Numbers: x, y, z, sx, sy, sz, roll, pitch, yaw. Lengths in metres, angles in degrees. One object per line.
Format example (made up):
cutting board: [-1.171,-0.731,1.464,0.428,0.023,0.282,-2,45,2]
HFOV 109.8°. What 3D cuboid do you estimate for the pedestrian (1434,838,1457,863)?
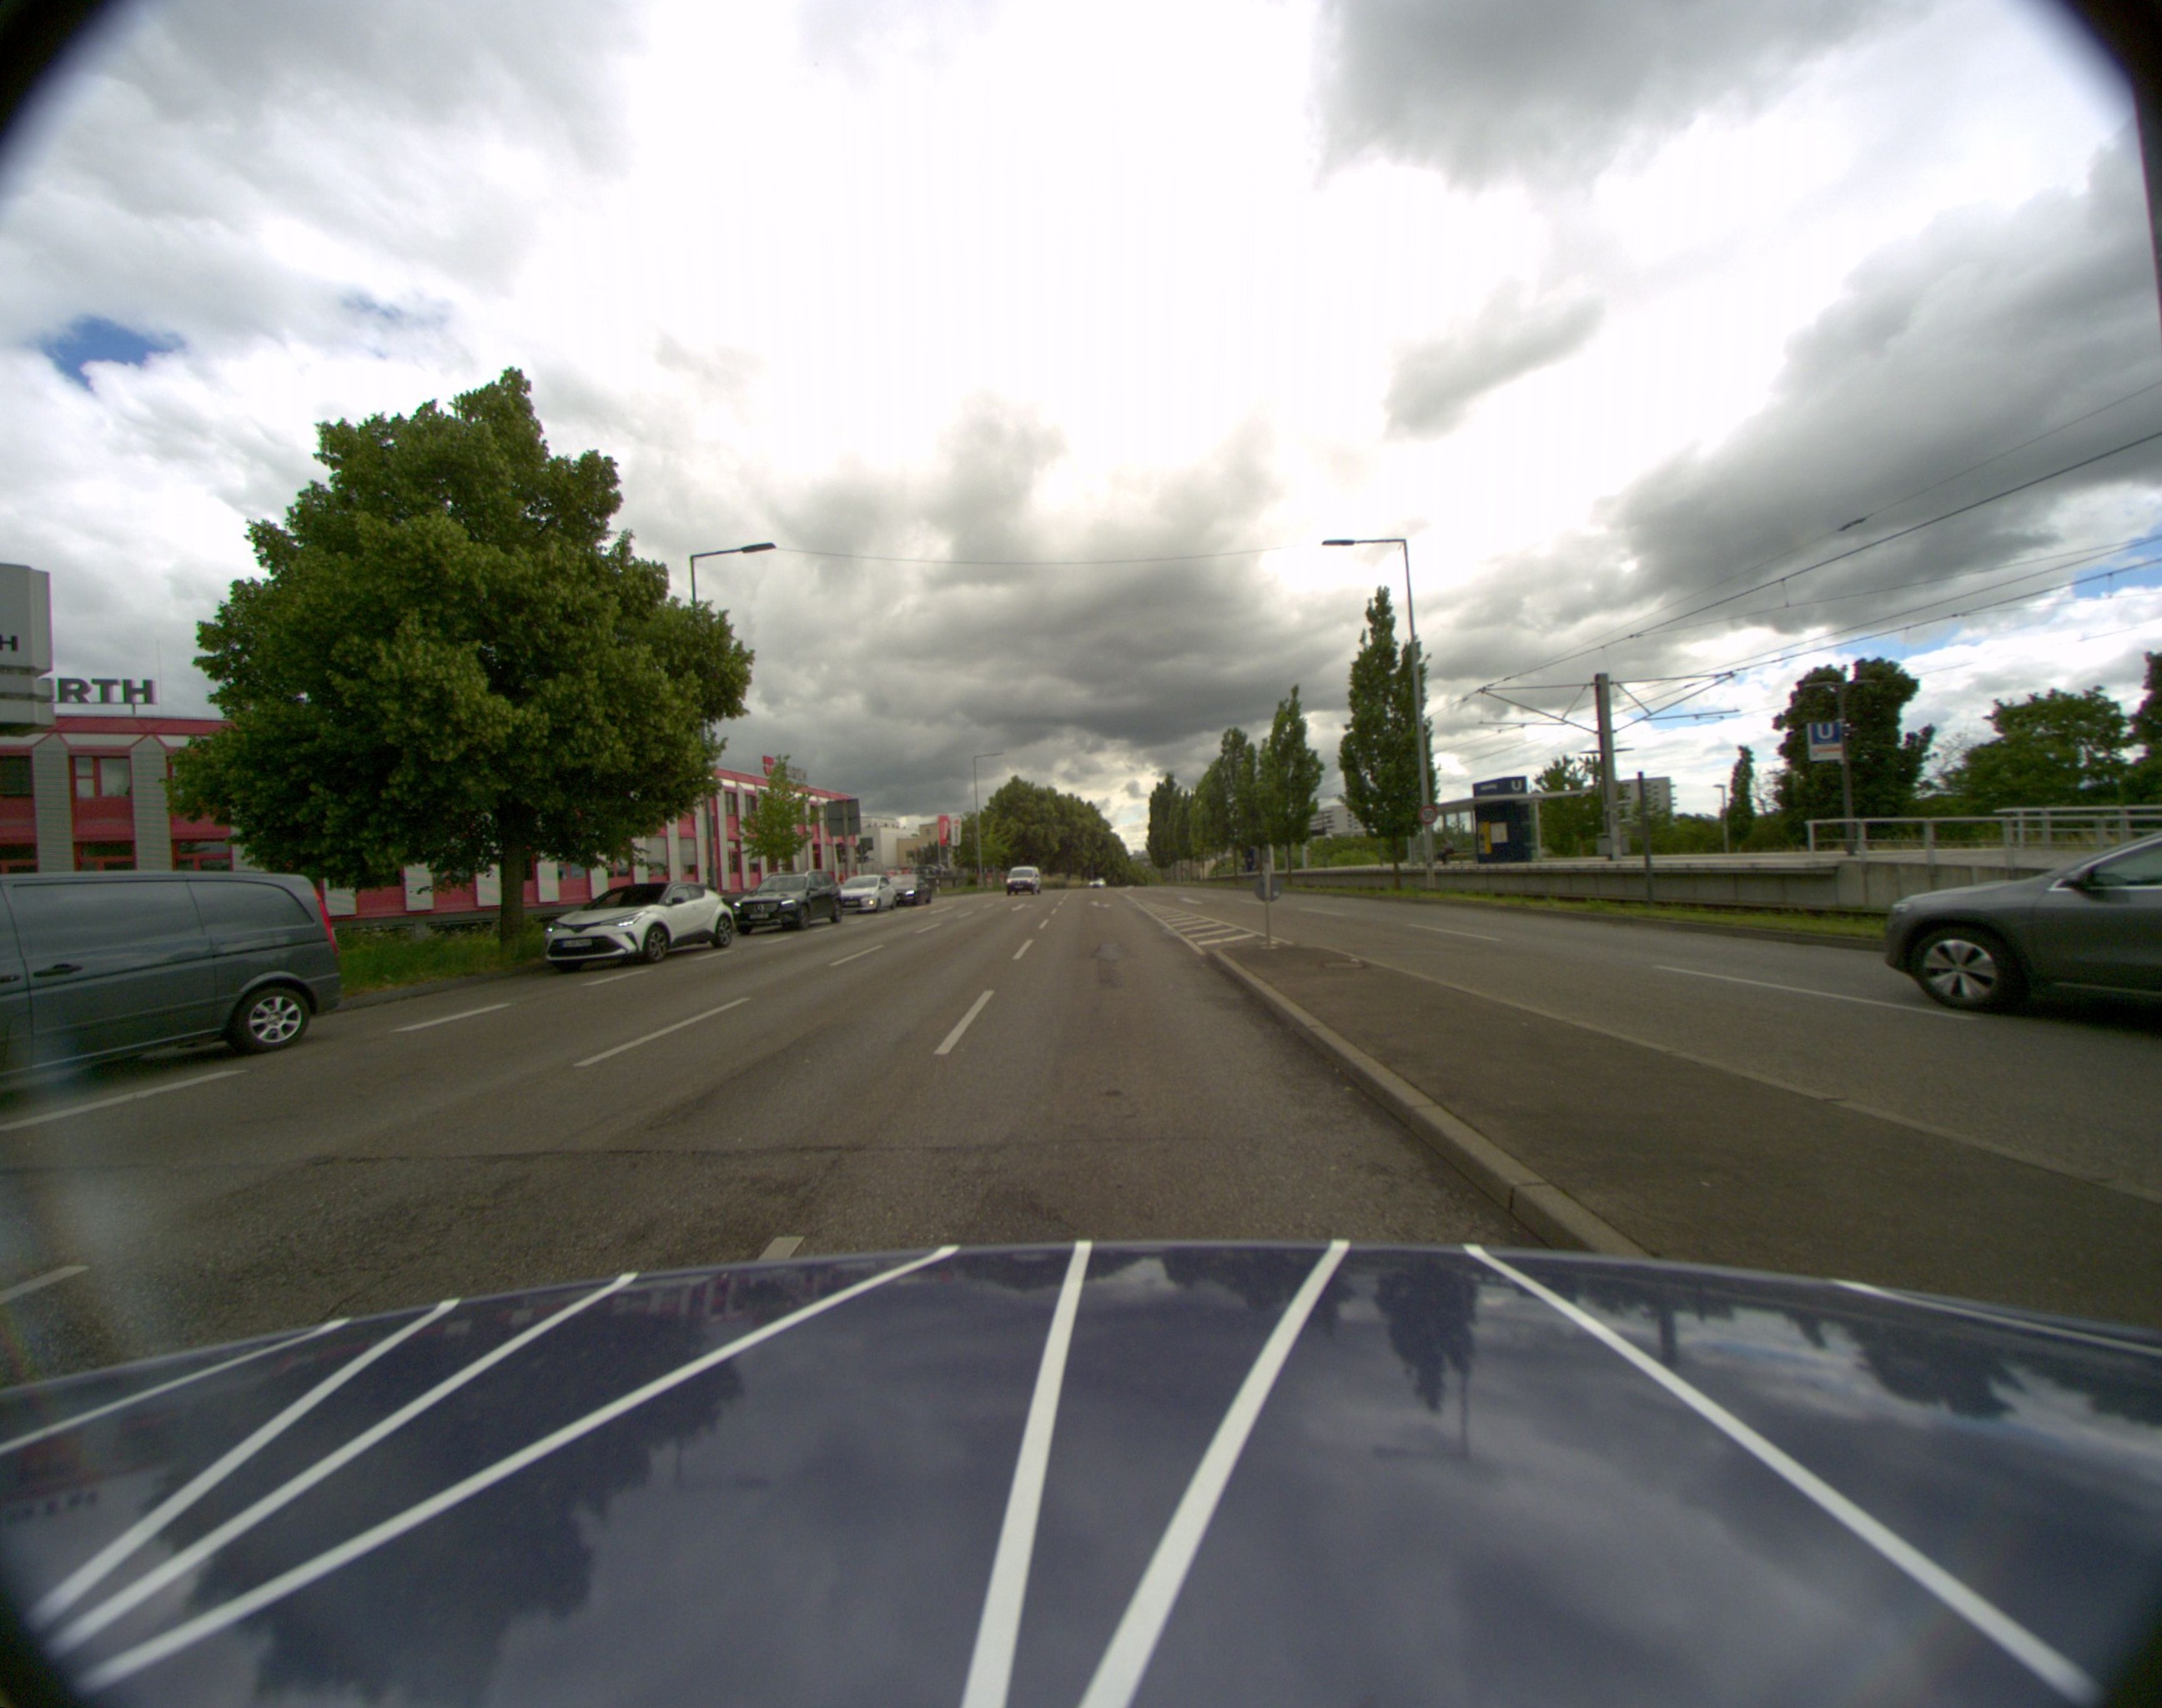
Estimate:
pedestrian: [17.619,-0.174,36.735,0.663,1.195,0.782,-2,0,-7]

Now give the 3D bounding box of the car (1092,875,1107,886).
car: [2.434,3.473,98.427,1.784,1.353,4.483,-1,-3,4]

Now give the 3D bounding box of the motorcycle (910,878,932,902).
motorcycle: [-8.324,1.858,39.514,0.750,1.140,1.943,-4,-1,-3]

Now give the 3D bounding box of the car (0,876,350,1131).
car: [-9.060,1.234,5.857,1.920,1.823,4.723,-5,0,4]

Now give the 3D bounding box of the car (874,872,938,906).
car: [-8.022,1.587,35.208,1.785,1.437,4.530,-1,-2,1]

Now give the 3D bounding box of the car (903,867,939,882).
car: [-21.217,2.682,101.008,4.248,1.744,1.784,-2,0,2]

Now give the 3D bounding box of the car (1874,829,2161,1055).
car: [8.340,0.586,4.940,1.783,1.537,4.223,-2,0,-4]

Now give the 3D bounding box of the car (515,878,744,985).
car: [-8.573,1.375,14.964,1.785,1.526,4.305,-5,0,0]

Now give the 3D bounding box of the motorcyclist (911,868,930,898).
motorcyclist: [-8.354,1.487,39.595,0.750,1.481,0.933,-4,-1,-3]

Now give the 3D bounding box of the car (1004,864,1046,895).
car: [-3.570,1.614,49.448,1.999,1.791,4.841,-2,0,4]

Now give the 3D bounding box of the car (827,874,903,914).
car: [-8.474,1.551,30.108,1.785,1.434,3.836,-1,-2,1]

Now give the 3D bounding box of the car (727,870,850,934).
car: [-8.376,1.323,22.216,1.785,1.639,4.427,-1,-2,1]
